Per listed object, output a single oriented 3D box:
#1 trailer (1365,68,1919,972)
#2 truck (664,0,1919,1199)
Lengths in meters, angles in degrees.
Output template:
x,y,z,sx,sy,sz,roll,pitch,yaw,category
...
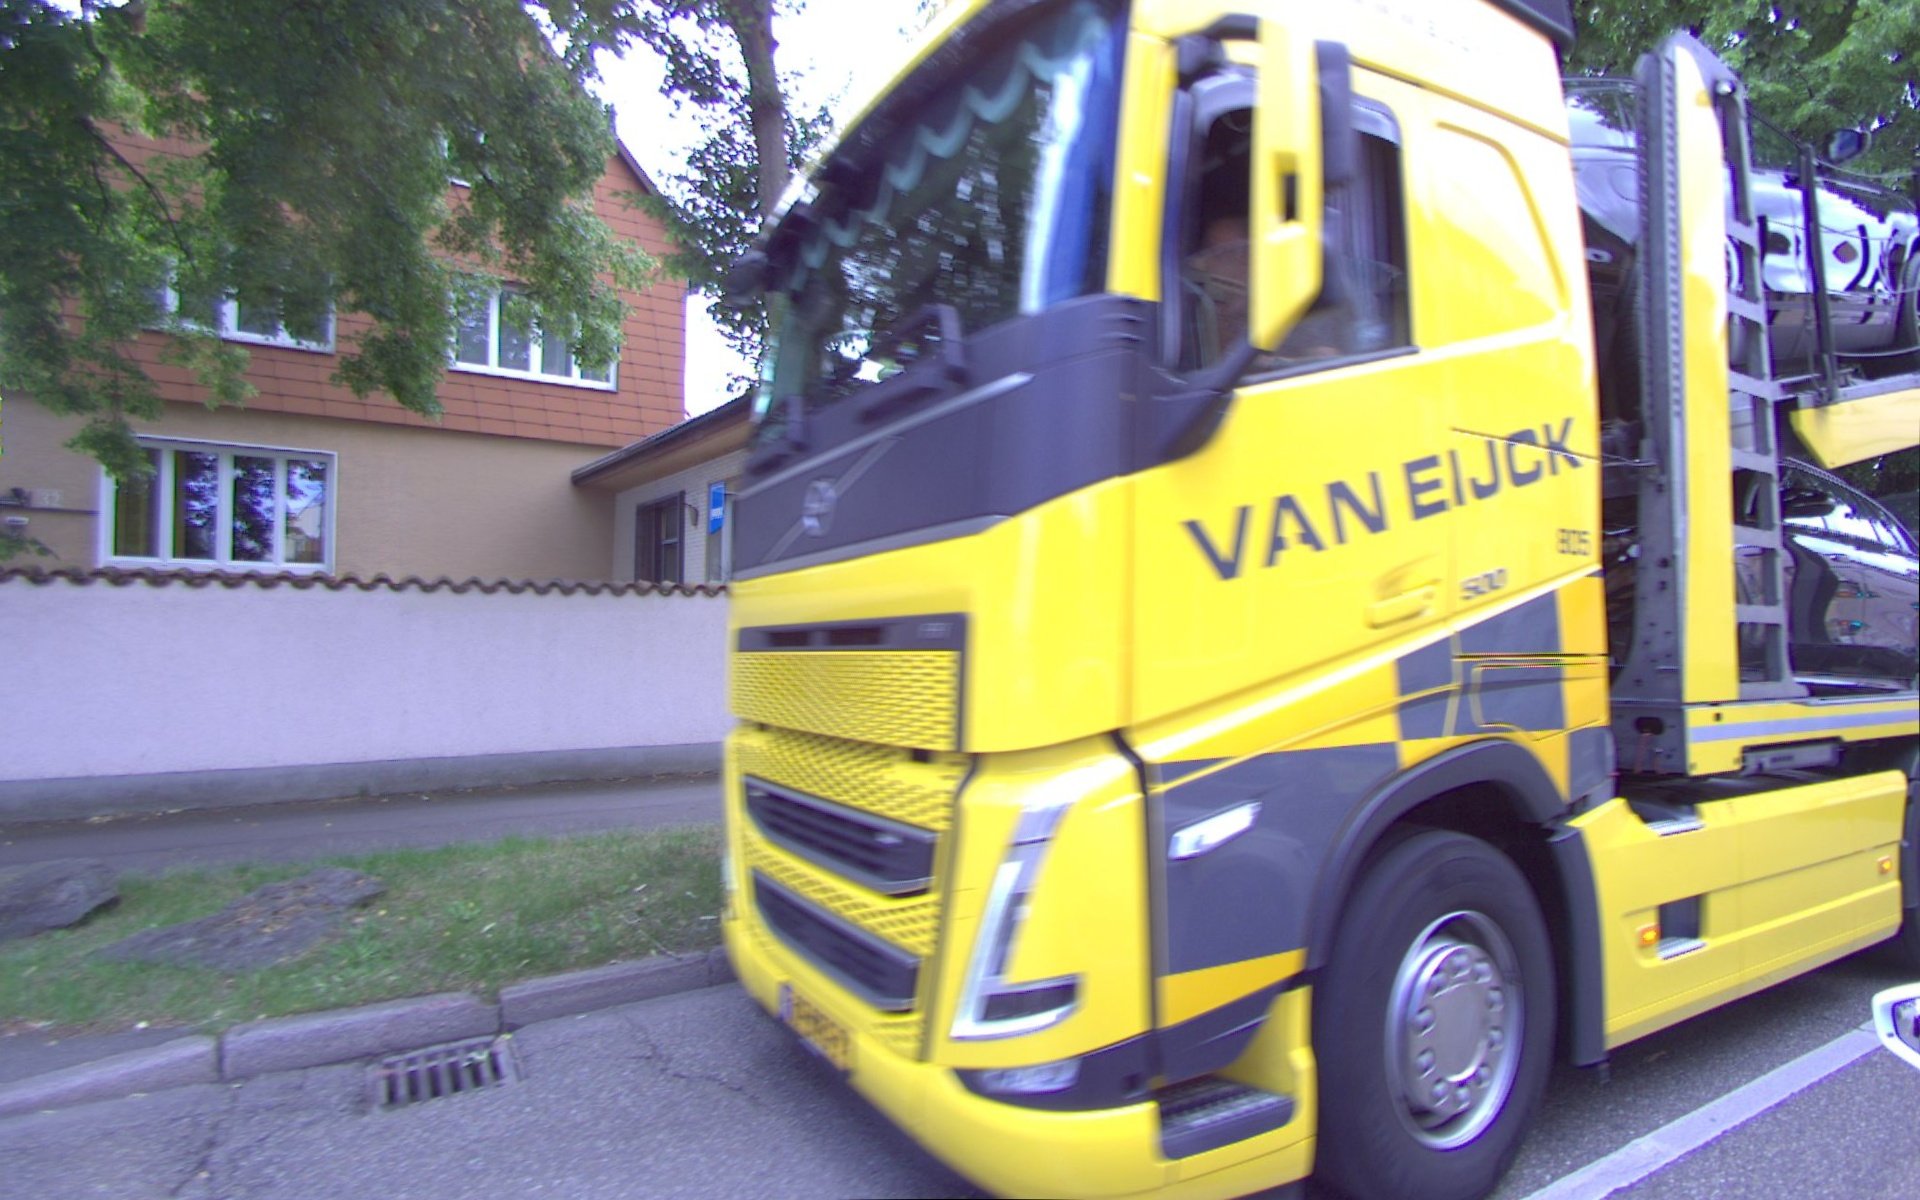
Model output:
x,y,z,sx,sy,sz,roll,pitch,yaw,category
9.505,-0.146,9.111,14.227,3.858,2.843,2,-1,-31,trailer
2.737,-0.384,5.018,7.581,3.832,2.830,2,-1,-31,truck
